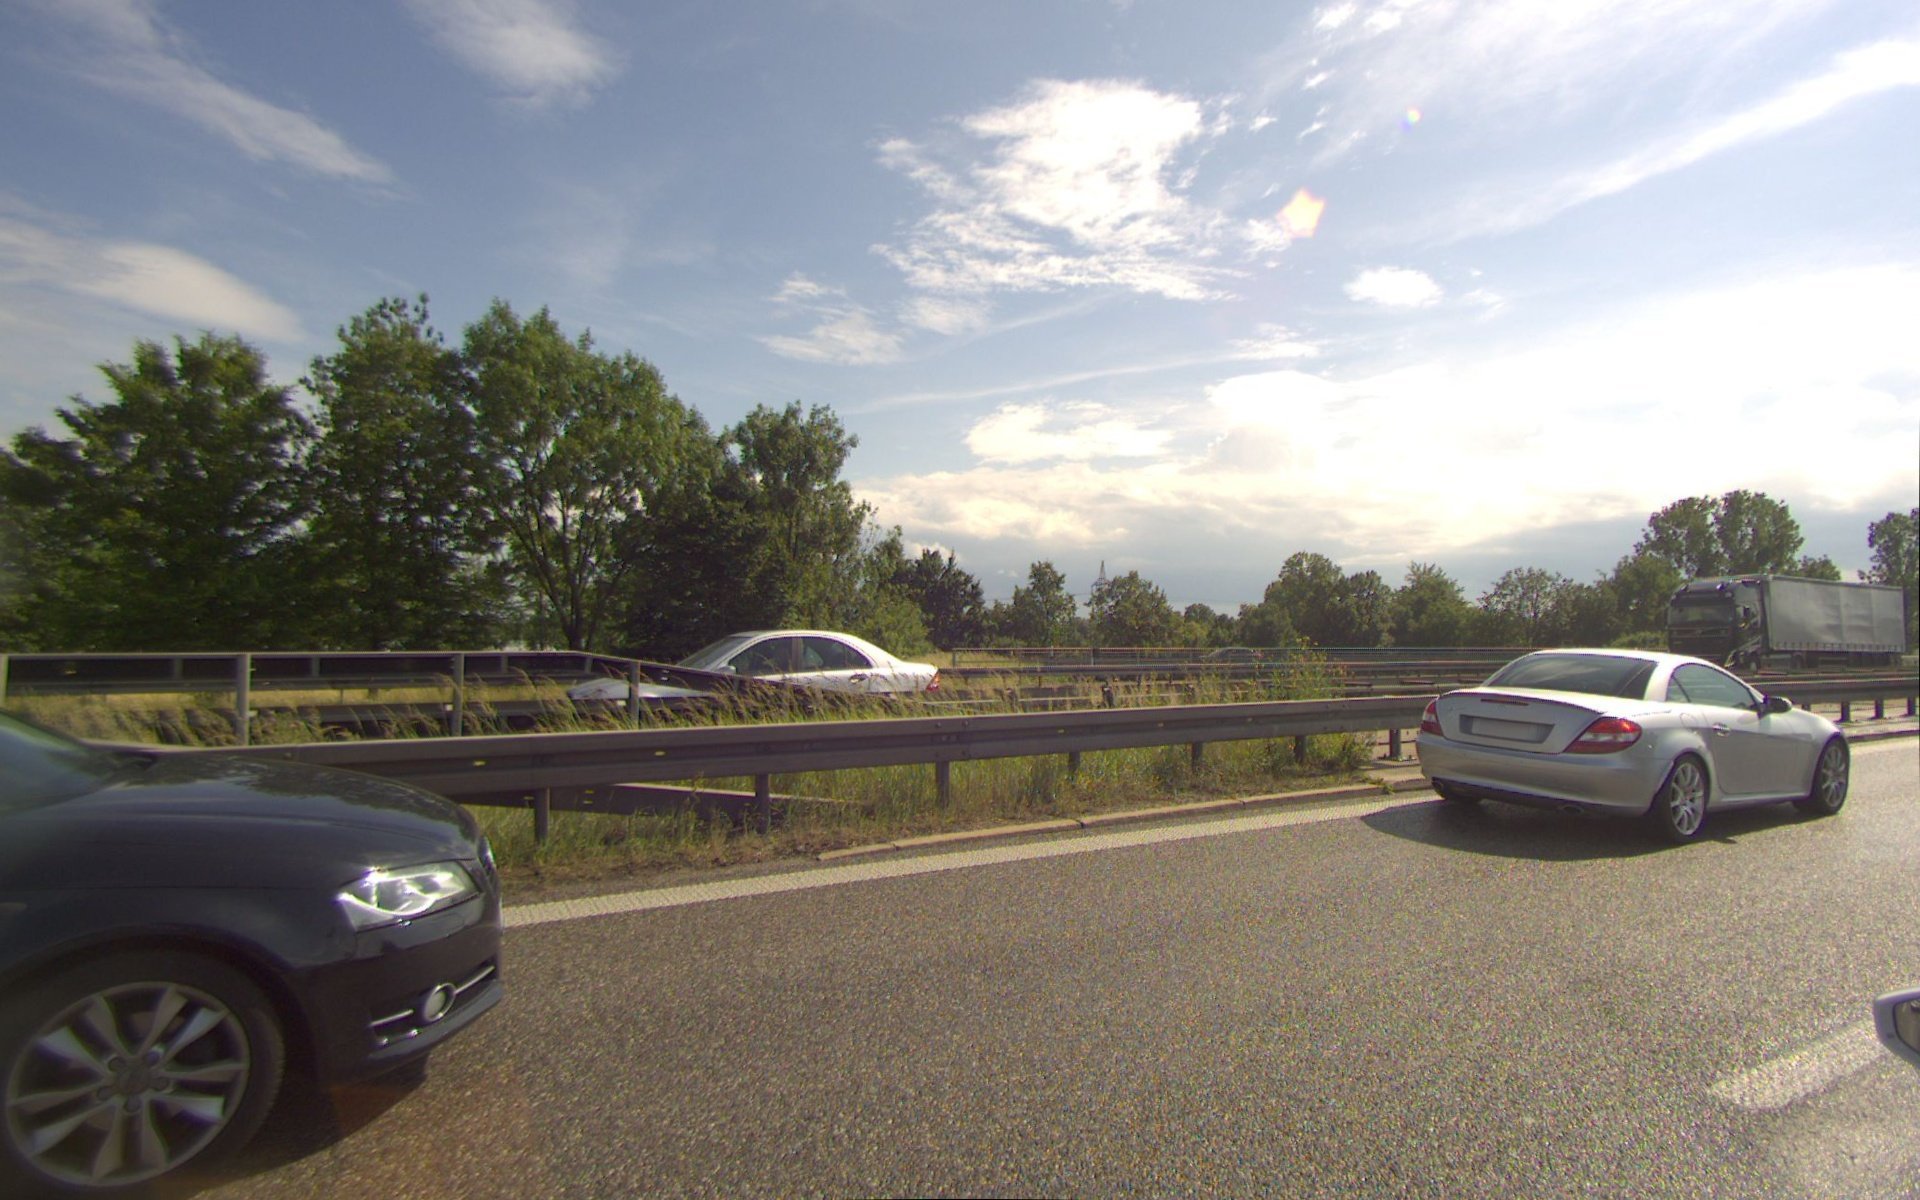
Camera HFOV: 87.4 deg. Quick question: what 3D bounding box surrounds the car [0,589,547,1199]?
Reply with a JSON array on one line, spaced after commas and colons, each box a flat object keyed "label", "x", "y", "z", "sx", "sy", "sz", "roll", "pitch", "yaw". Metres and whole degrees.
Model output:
[{"label": "car", "x": -3.357, "y": 0.678, "z": 2.559, "sx": 4.088, "sy": 1.444, "sz": 1.759, "roll": 2, "pitch": 0, "yaw": -29}]

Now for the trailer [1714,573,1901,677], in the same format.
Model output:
[{"label": "trailer", "x": 37.405, "y": 1.194, "z": 44.199, "sx": 10.354, "sy": 4.157, "sz": 2.991, "roll": 2, "pitch": -2, "yaw": -31}]

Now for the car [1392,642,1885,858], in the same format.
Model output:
[{"label": "car", "x": 5.514, "y": 1.015, "z": 8.061, "sx": 4.015, "sy": 1.295, "sz": 1.716, "roll": 1, "pitch": -1, "yaw": -30}]

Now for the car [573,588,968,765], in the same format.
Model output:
[{"label": "car", "x": -2.199, "y": 0.845, "z": 11.875, "sx": 4.157, "sy": 1.752, "sz": 1.984, "roll": 3, "pitch": -2, "yaw": -30}]

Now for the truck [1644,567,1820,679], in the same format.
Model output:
[{"label": "truck", "x": 31.213, "y": 0.993, "z": 40.537, "sx": 7.597, "sy": 4.157, "sz": 2.991, "roll": 2, "pitch": -2, "yaw": -30}]
